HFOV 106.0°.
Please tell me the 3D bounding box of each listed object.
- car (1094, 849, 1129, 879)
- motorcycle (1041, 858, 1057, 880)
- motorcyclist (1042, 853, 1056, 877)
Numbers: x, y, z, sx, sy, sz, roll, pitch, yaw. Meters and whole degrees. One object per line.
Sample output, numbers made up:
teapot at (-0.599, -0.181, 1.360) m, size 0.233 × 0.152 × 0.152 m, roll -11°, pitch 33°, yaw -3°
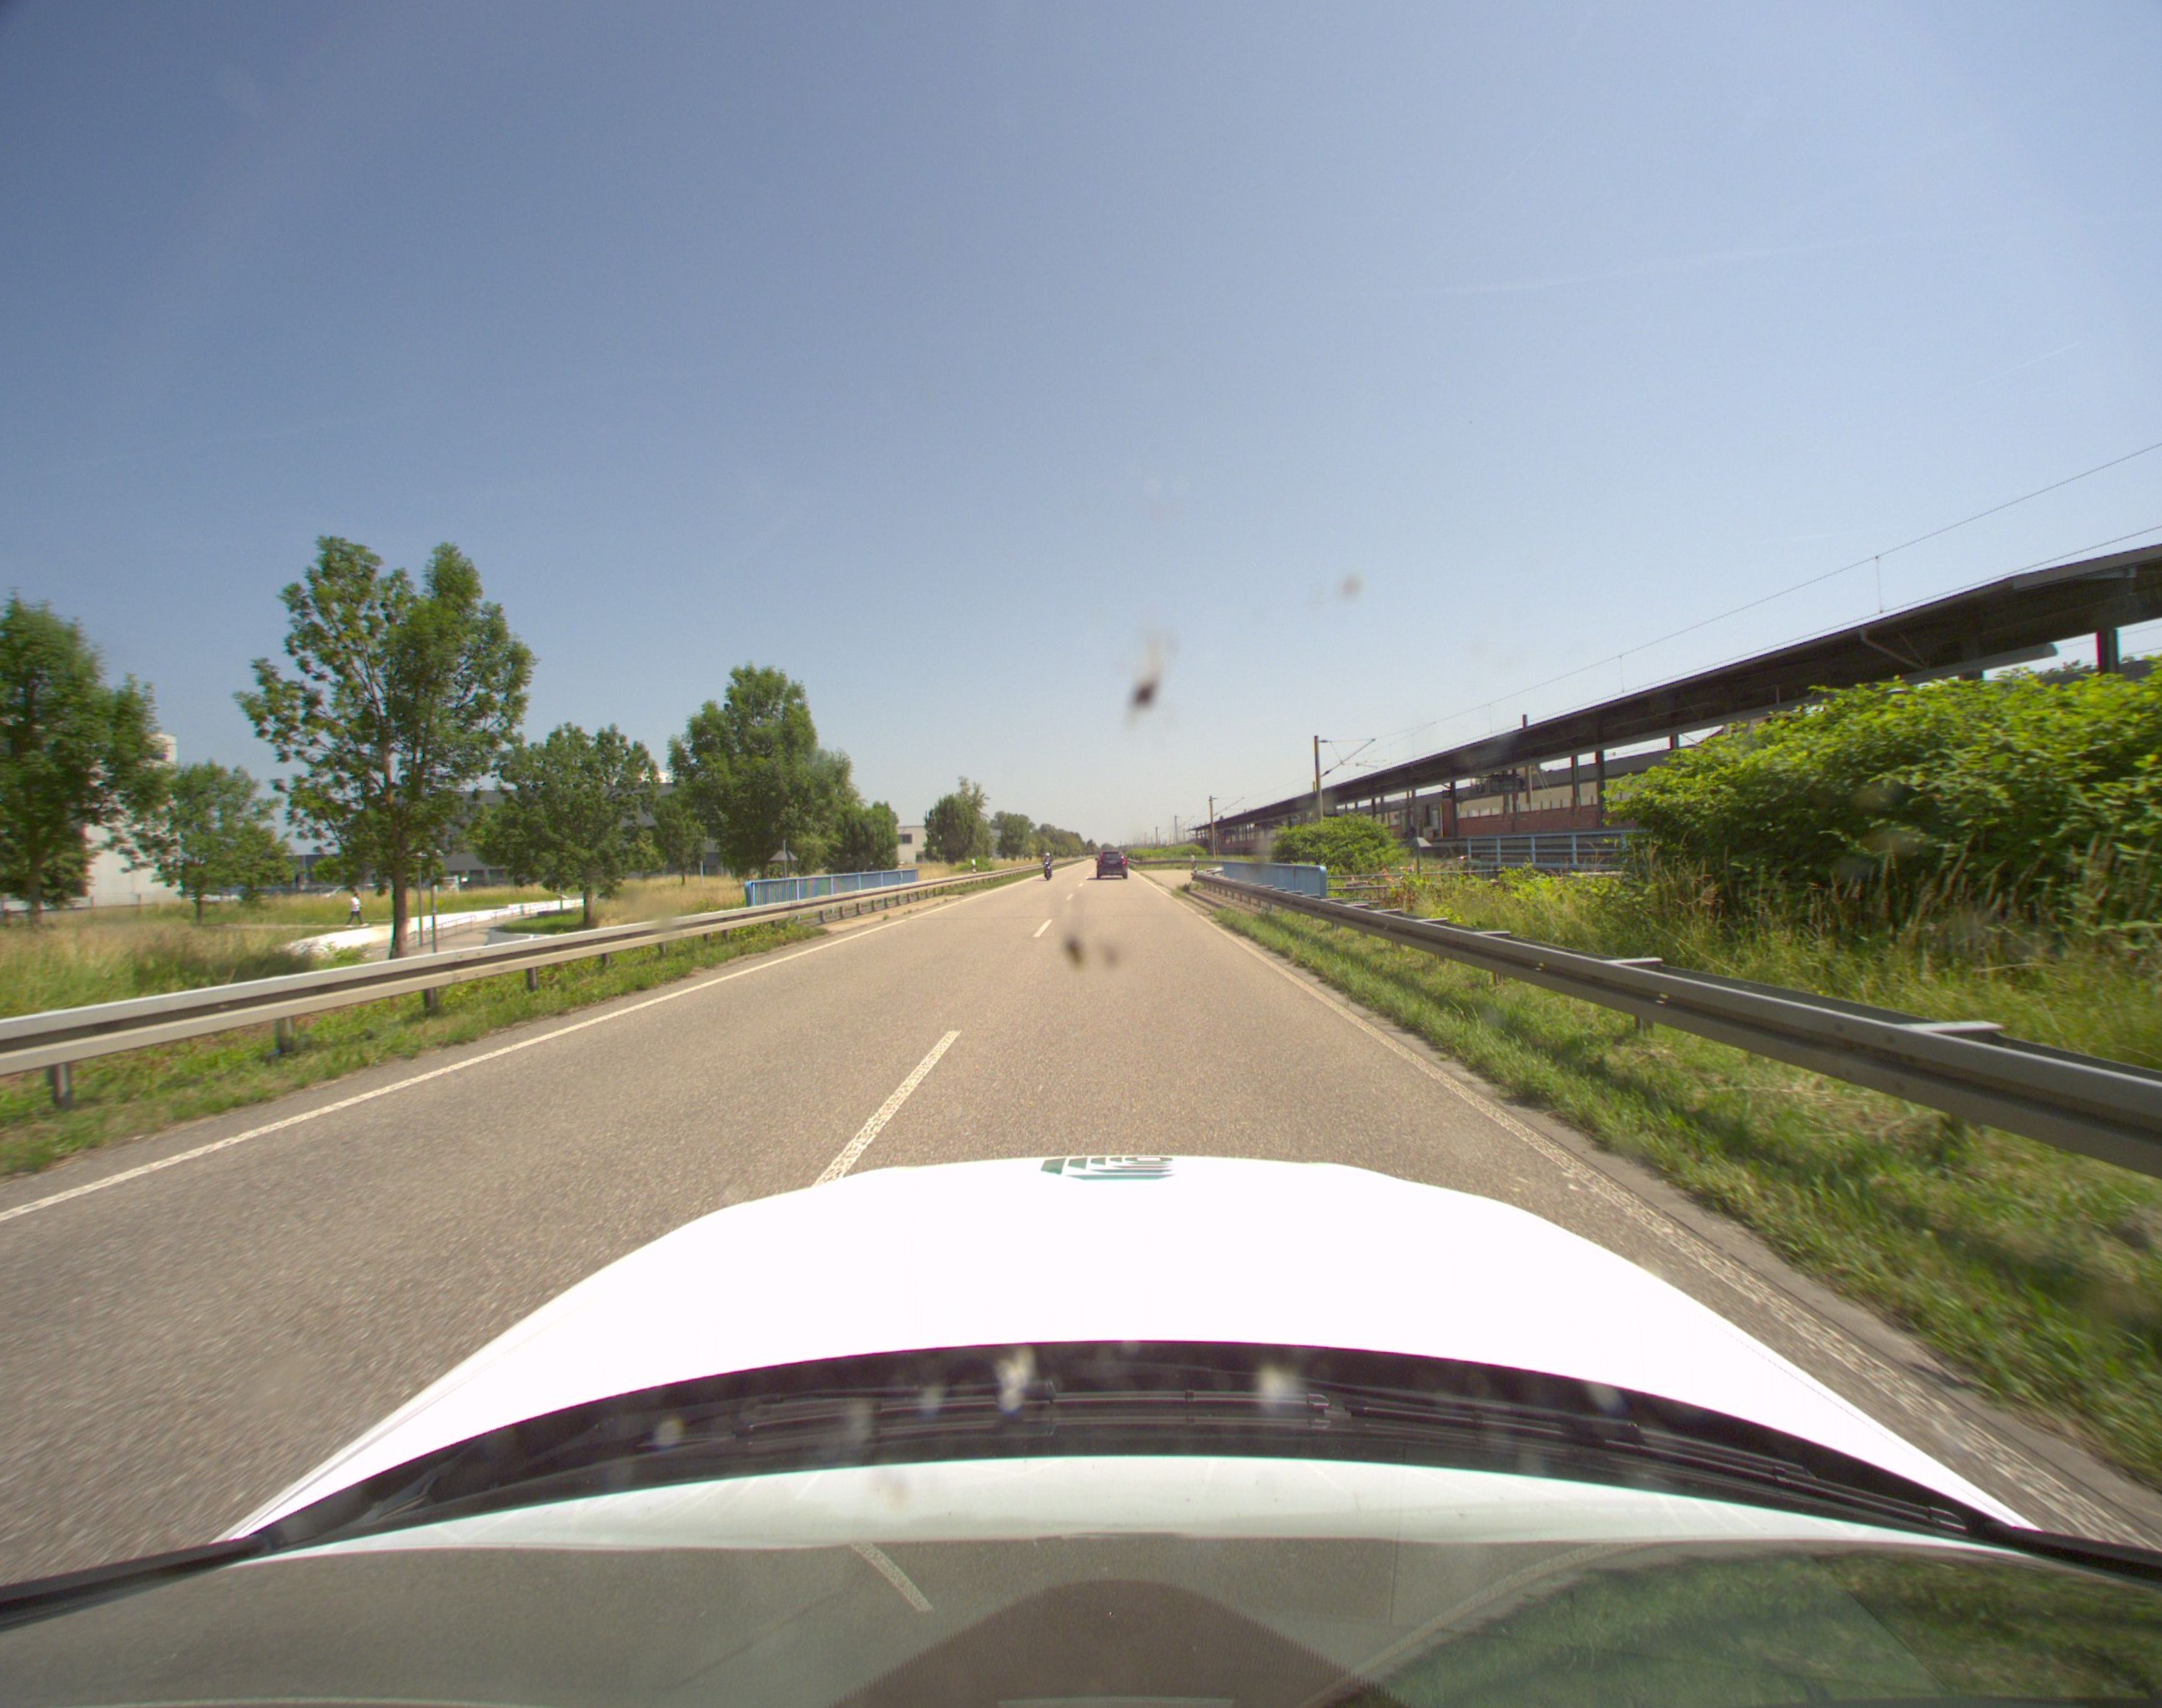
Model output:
car at (1.832, 0.601, 50.111) m, size 1.987 × 1.700 × 3.999 m, roll -2°, pitch 0°, yaw -1°
motorcycle at (-1.909, 0.902, 49.530) m, size 0.686 × 1.234 × 2.372 m, roll -1°, pitch 0°, yaw 4°
motorcyclist at (-1.935, 0.659, 49.564) m, size 0.723 × 1.465 × 0.988 m, roll -1°, pitch 0°, yaw 4°
